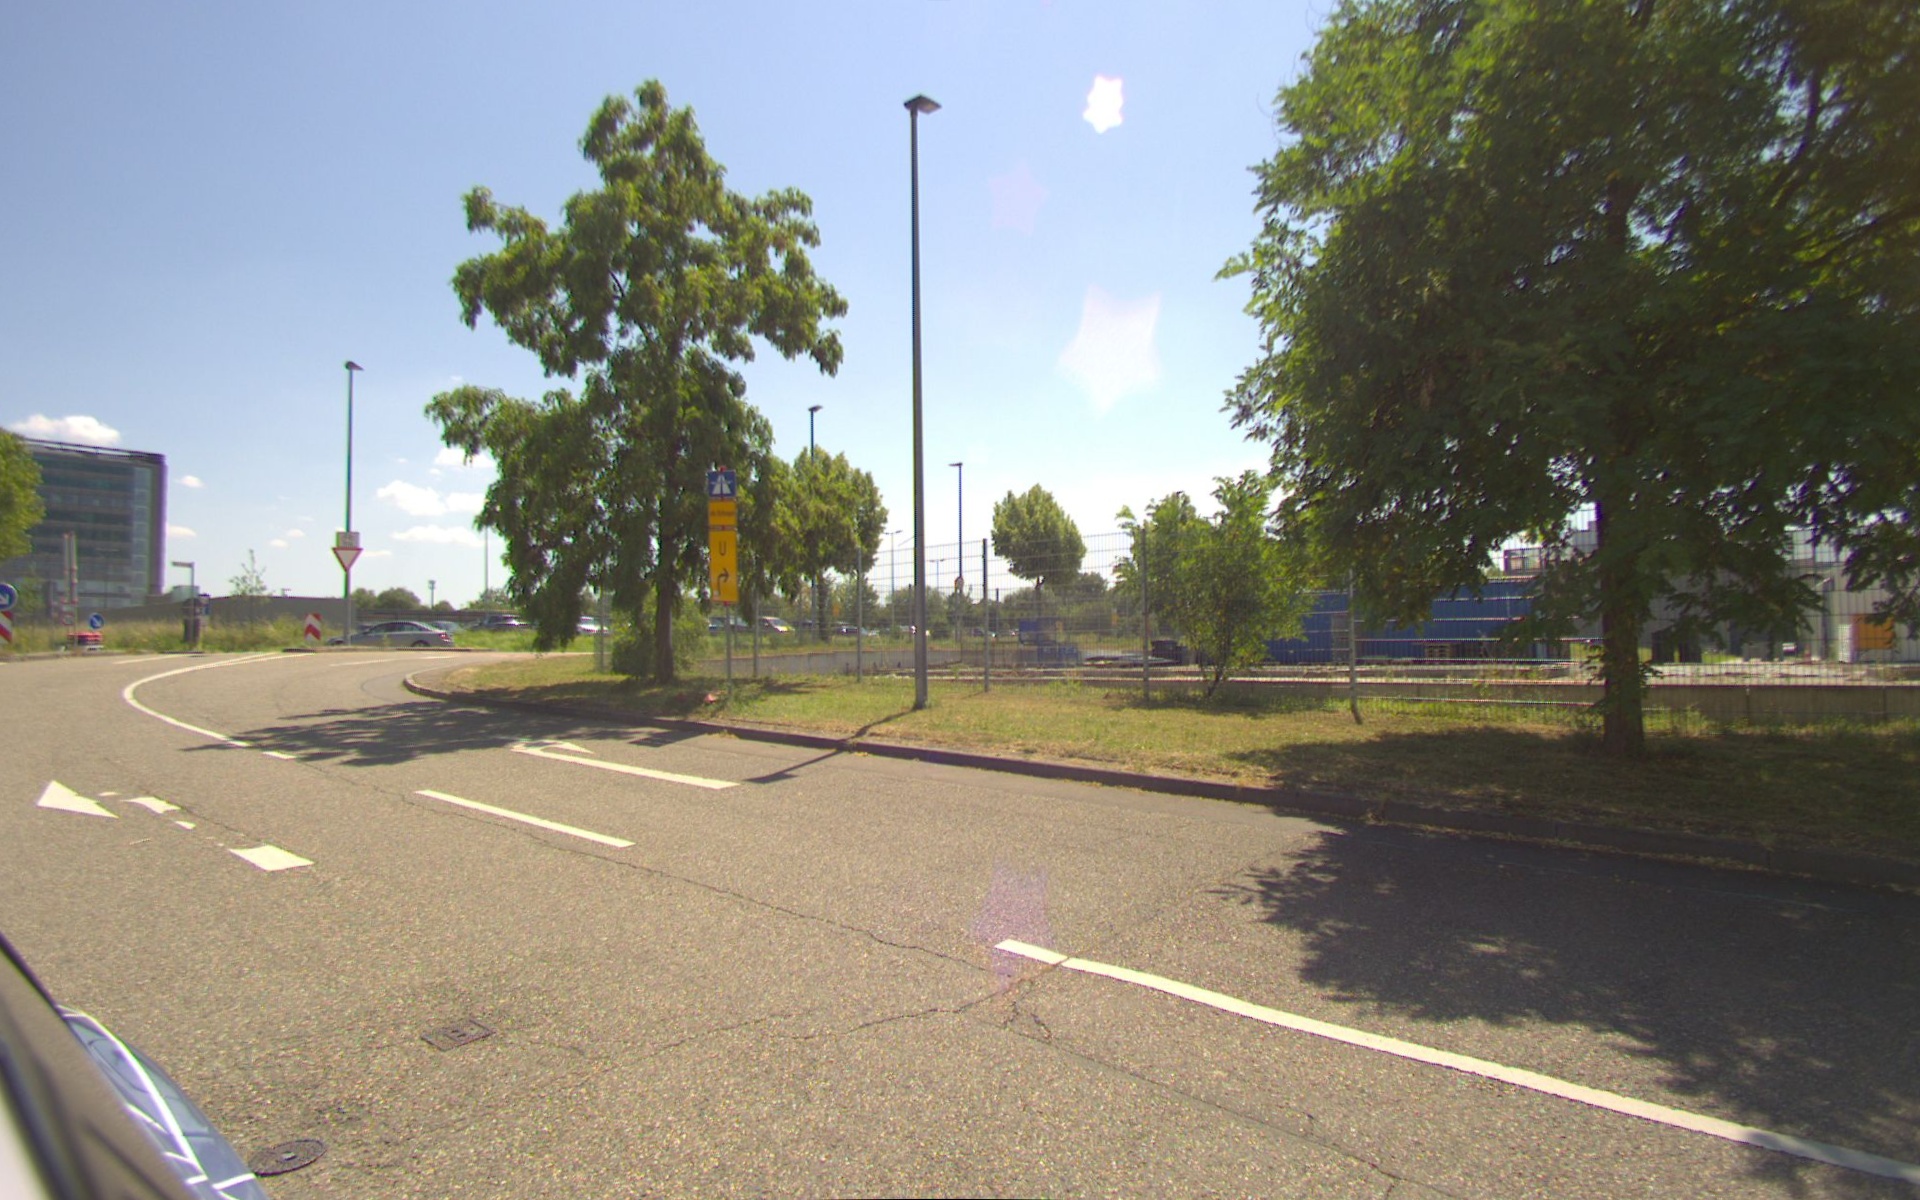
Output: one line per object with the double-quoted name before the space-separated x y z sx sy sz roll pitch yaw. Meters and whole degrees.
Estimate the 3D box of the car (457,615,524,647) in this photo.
"car" -28.252 1.923 60.871 4.597 1.703 1.755 -4 -5 37

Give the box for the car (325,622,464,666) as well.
"car" -21.709 1.704 39.004 4.420 1.385 1.679 -2 -4 -19

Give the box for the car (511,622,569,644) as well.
"car" -26.104 2.055 62.843 3.843 1.373 1.632 -2 -3 37

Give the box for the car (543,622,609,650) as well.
"car" -20.287 1.907 53.409 3.874 1.307 1.554 -4 -2 40

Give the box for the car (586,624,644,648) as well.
"car" -18.897 1.977 55.431 3.267 1.191 1.482 -4 -2 39
